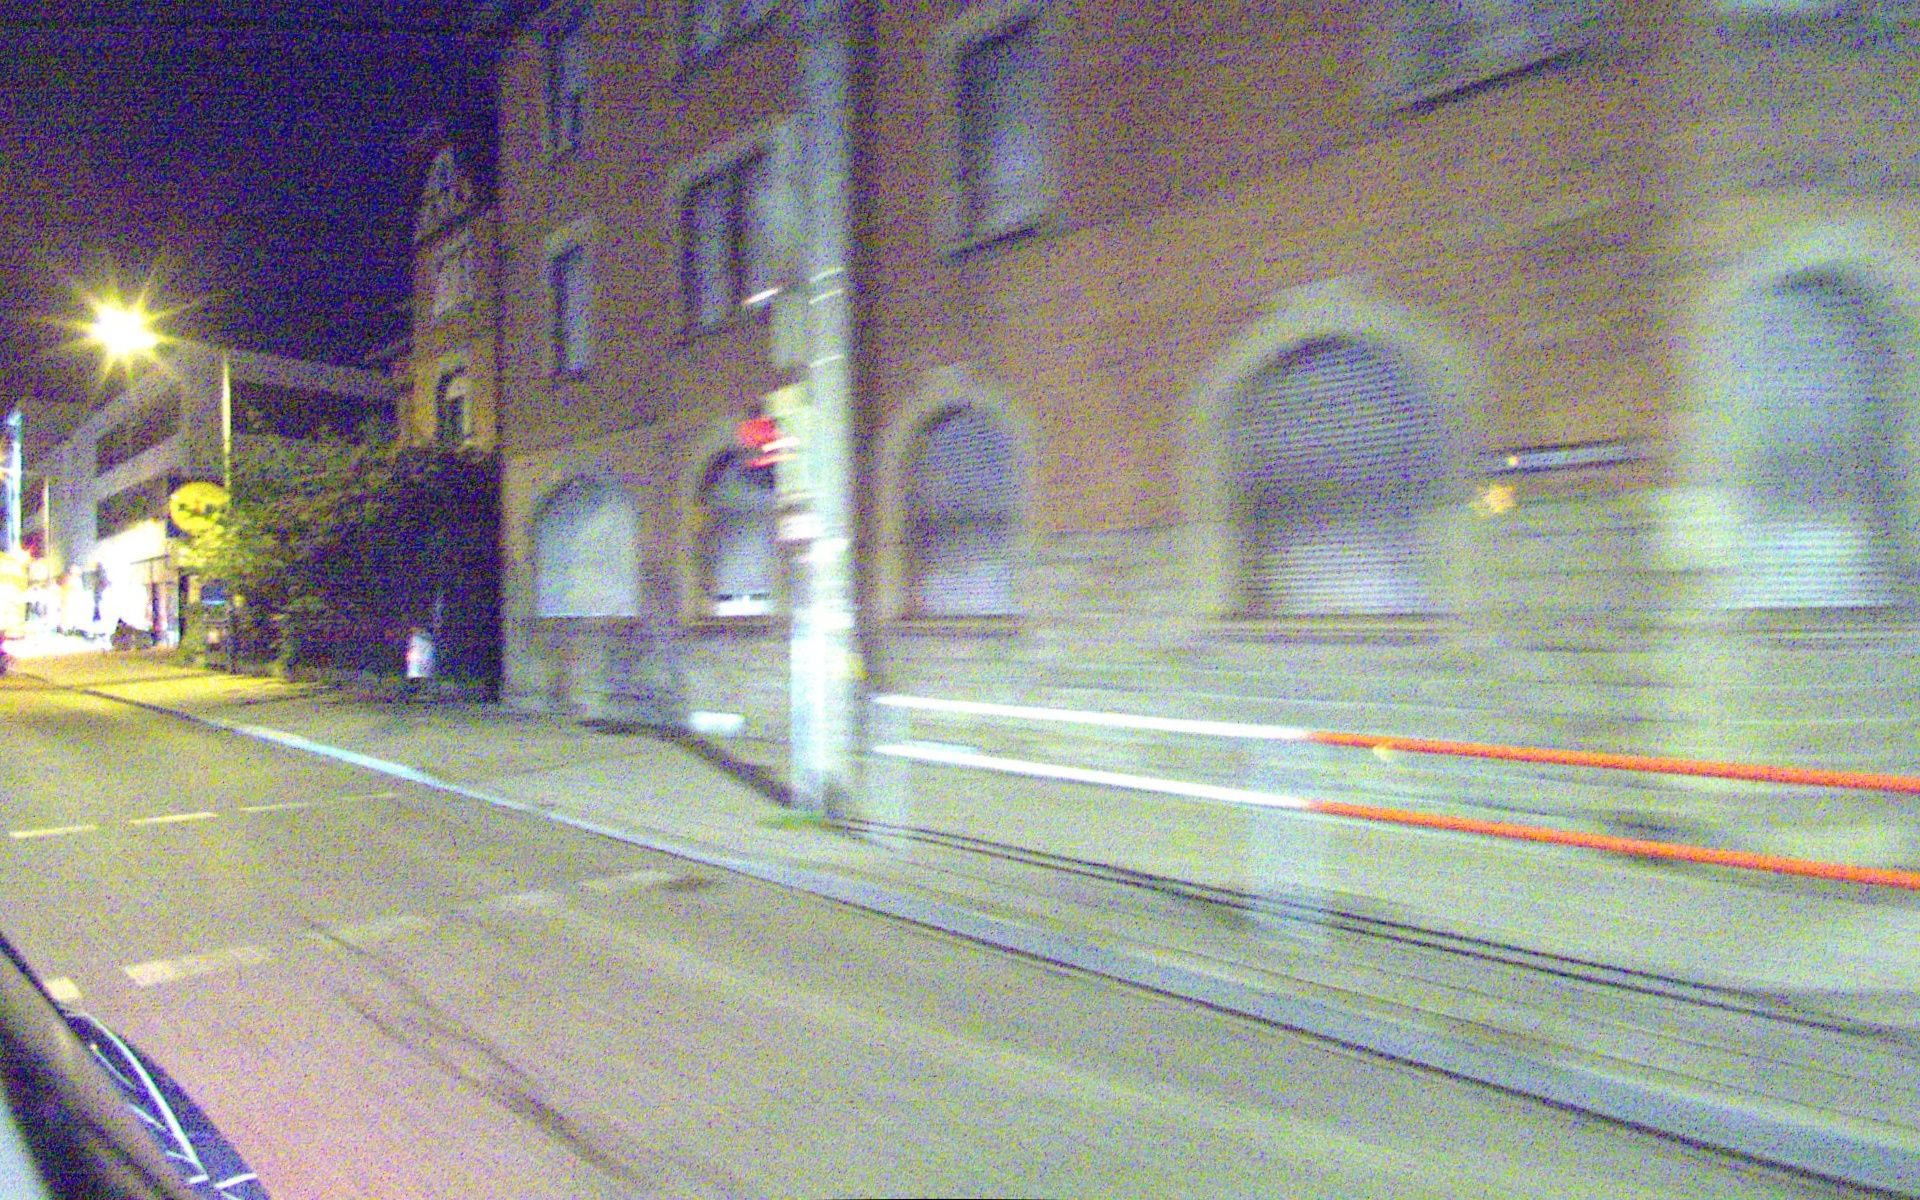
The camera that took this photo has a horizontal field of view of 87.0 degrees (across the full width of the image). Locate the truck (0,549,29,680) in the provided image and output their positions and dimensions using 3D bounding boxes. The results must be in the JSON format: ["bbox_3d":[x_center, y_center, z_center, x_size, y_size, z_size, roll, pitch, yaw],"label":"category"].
[{"bbox_3d":[-31.943,0.434,31.765,10.108,3.746,2.726,-1,-4,41],"label":"truck"}]
